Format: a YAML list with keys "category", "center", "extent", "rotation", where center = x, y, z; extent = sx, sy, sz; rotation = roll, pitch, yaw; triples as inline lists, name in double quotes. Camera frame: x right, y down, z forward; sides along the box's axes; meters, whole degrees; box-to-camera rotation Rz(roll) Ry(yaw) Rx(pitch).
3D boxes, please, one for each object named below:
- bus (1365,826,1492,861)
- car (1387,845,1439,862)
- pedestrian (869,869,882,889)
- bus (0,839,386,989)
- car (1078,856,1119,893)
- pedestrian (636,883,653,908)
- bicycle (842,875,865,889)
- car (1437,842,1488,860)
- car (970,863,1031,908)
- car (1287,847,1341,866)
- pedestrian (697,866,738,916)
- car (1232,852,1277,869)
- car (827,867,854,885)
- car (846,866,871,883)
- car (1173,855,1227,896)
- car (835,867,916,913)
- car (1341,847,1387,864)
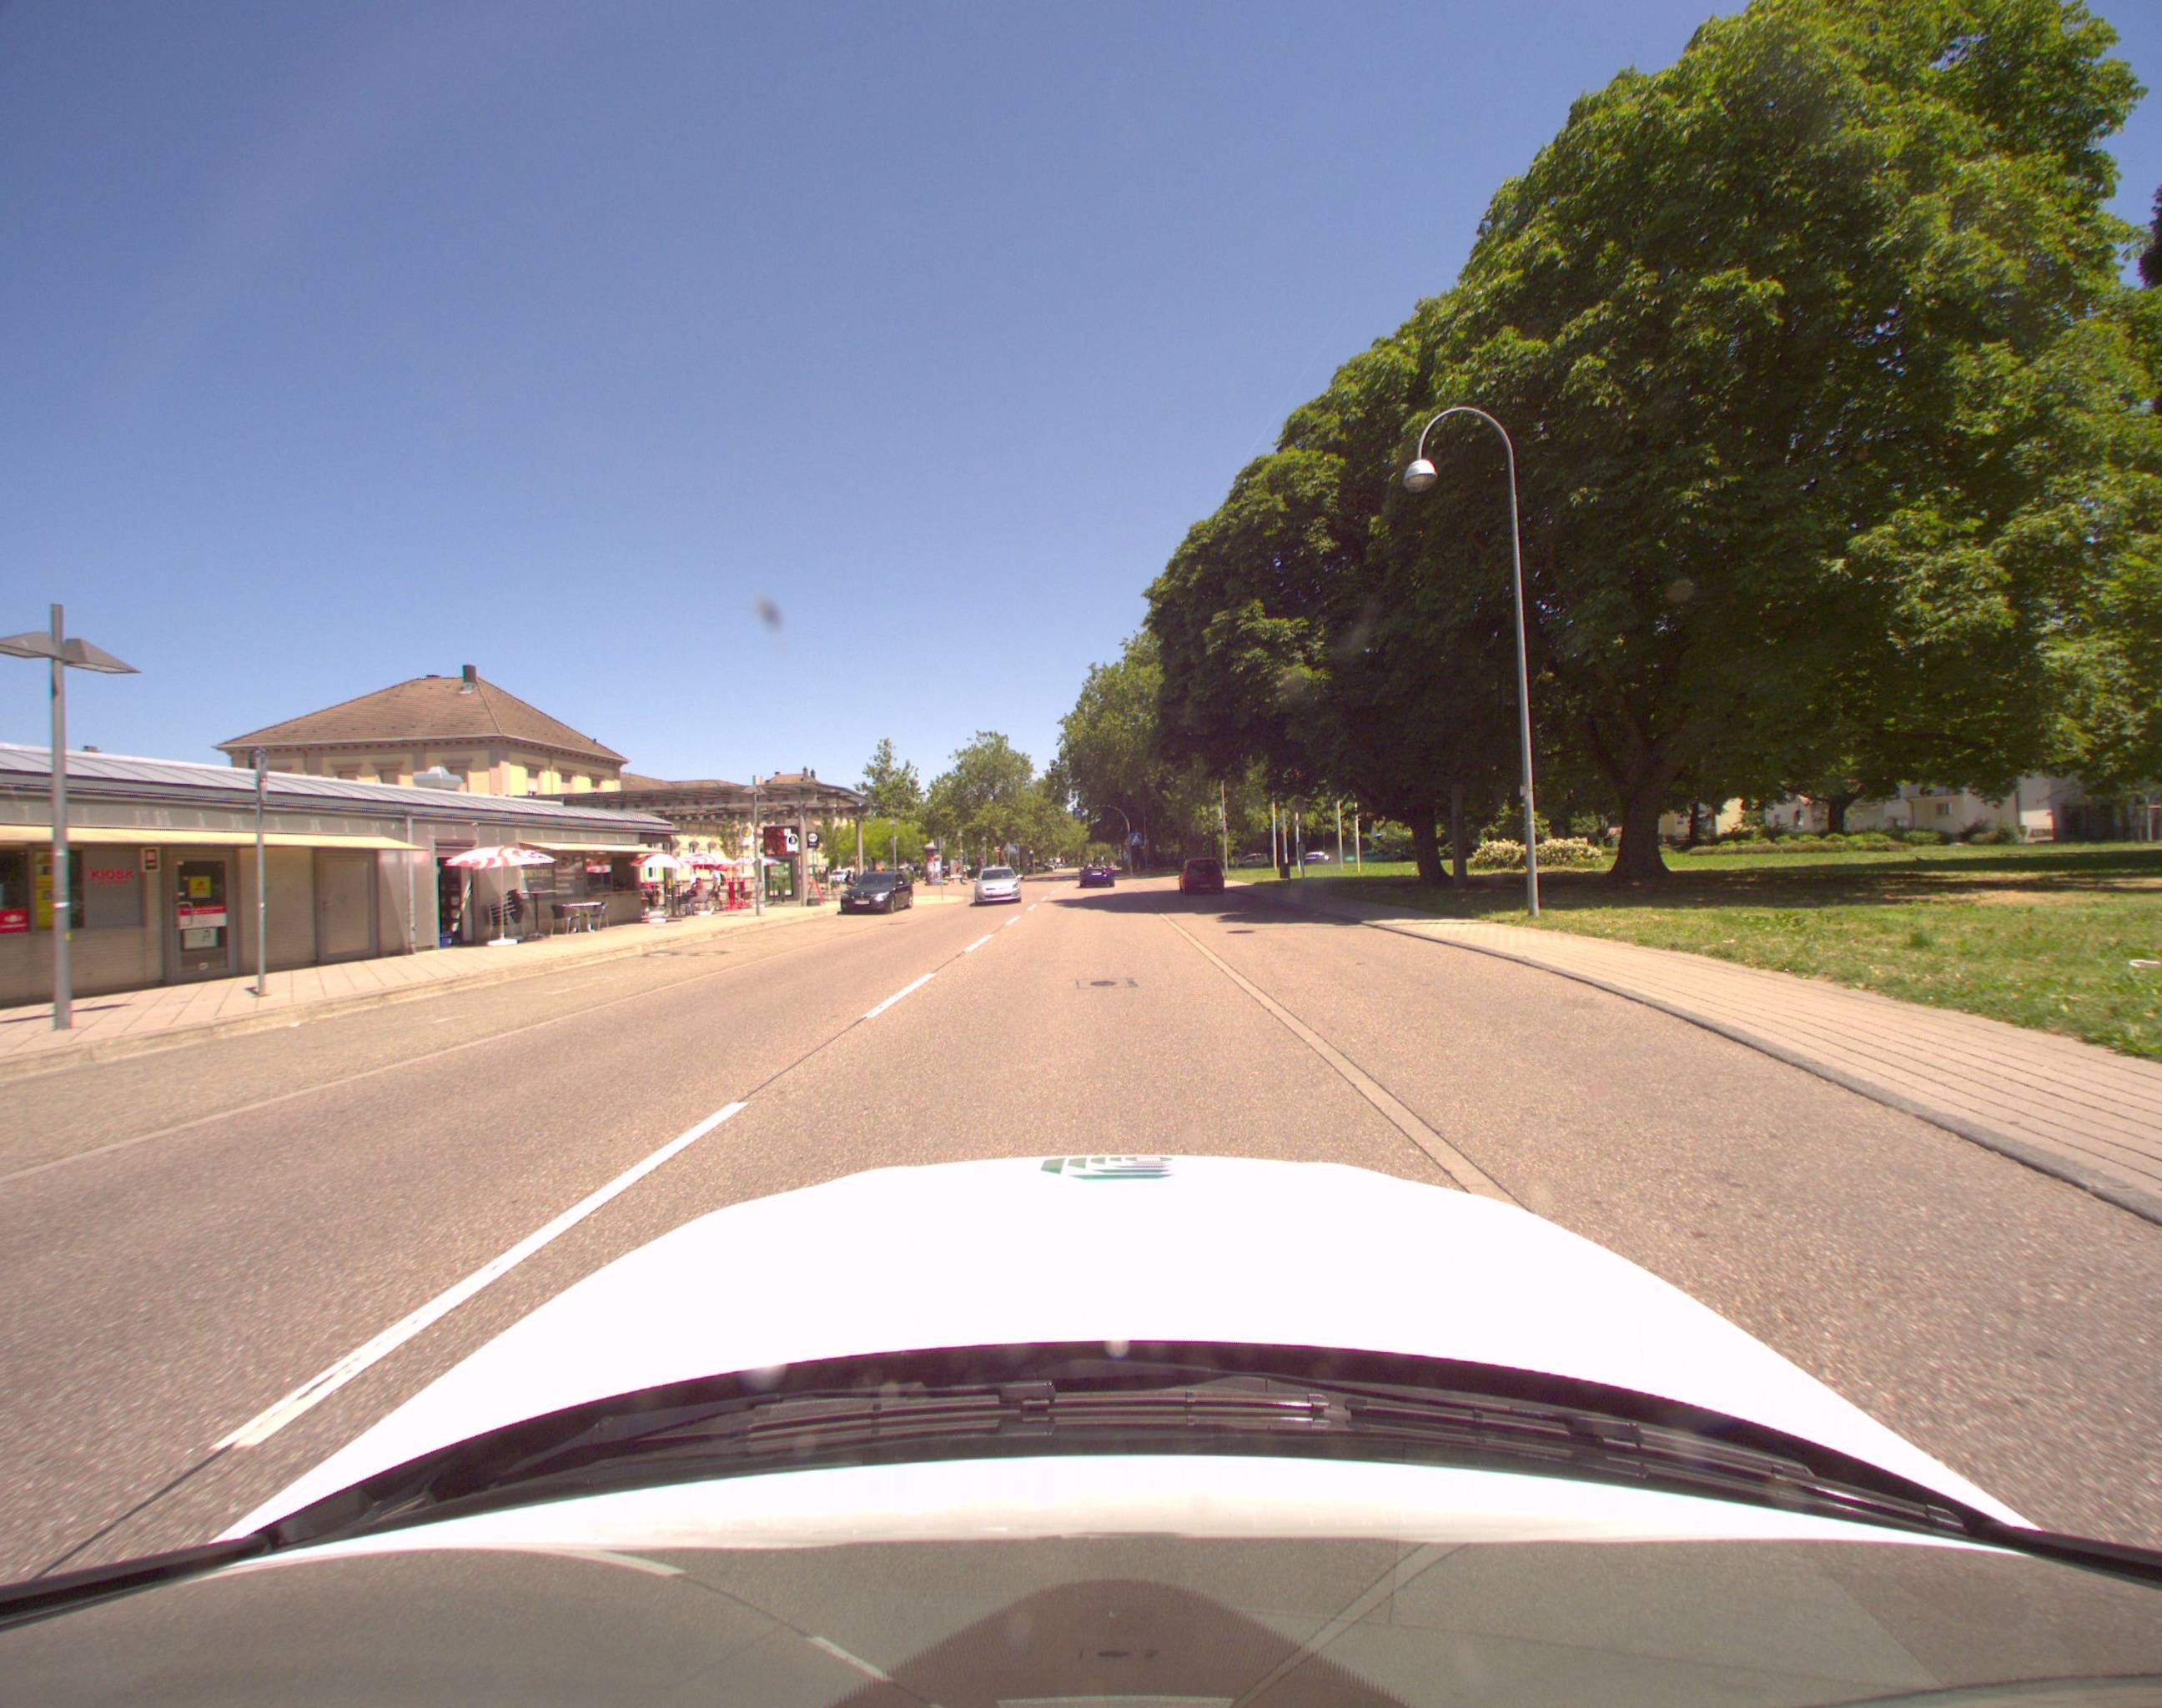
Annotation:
- category: "bus"
  center: [36.614, -1.097, 86.039]
  extent: [12.335, 2.978, 2.268]
  rotation: [-3, -2, 1]
- category: "car"
  center: [32.691, -0.039, 80.330]
  extent: [4.321, 1.416, 2.000]
  rotation: [-2, -2, 1]
- category: "pedestrian"
  center: [-17.441, 2.122, 69.228]
  extent: [0.754, 1.659, 0.724]
  rotation: [-3, -3, 18]
- category: "bus"
  center: [-23.305, 1.309, 18.767]
  extent: [2.666, 3.041, 13.887]
  rotation: [-3, -1, 0]
- category: "car"
  center: [0.957, 1.113, 44.828]
  extent: [2.117, 1.848, 4.049]
  rotation: [-2, -1, 1]
- category: "pedestrian"
  center: [-17.729, 1.678, 33.078]
  extent: [0.421, 0.972, 0.373]
  rotation: [-3, -3, 14]
- category: "bicycle"
  center: [-18.534, 2.288, 66.329]
  extent: [1.800, 1.030, 0.485]
  rotation: [-2, -1, -23]
- category: "car"
  center: [37.586, -0.305, 80.234]
  extent: [4.080, 1.609, 2.001]
  rotation: [-2, -2, 2]
- category: "car"
  center: [-3.133, 1.209, 32.637]
  extent: [1.808, 1.444, 4.160]
  rotation: [-5, 0, 1]
- category: "car"
  center: [22.915, 0.251, 80.252]
  extent: [4.801, 1.607, 2.003]
  rotation: [-3, -1, 4]
- category: "pedestrian"
  center: [-13.731, 1.385, 30.768]
  extent: [0.793, 1.828, 1.147]
  rotation: [-3, -3, 18]
- category: "car"
  center: [17.166, 0.650, 80.848]
  extent: [4.085, 1.466, 2.003]
  rotation: [-3, -1, 5]
- category: "car"
  center: [-28.747, 2.625, 97.522]
  extent: [1.745, 1.917, 4.776]
  rotation: [-3, -1, 1]
- category: "car"
  center: [-28.519, 2.596, 104.353]
  extent: [1.987, 2.013, 3.999]
  rotation: [-3, -1, -1]
- category: "car"
  center: [4.789, 0.831, 33.146]
  extent: [1.712, 1.478, 3.707]
  rotation: [-3, -1, 2]
- category: "car"
  center: [-7.535, 1.260, 30.324]
  extent: [1.713, 1.478, 4.785]
  rotation: [-3, -1, 0]
- category: "car"
  center: [27.928, 0.135, 80.454]
  extent: [3.864, 1.454, 2.002]
  rotation: [-2, -2, 3]
